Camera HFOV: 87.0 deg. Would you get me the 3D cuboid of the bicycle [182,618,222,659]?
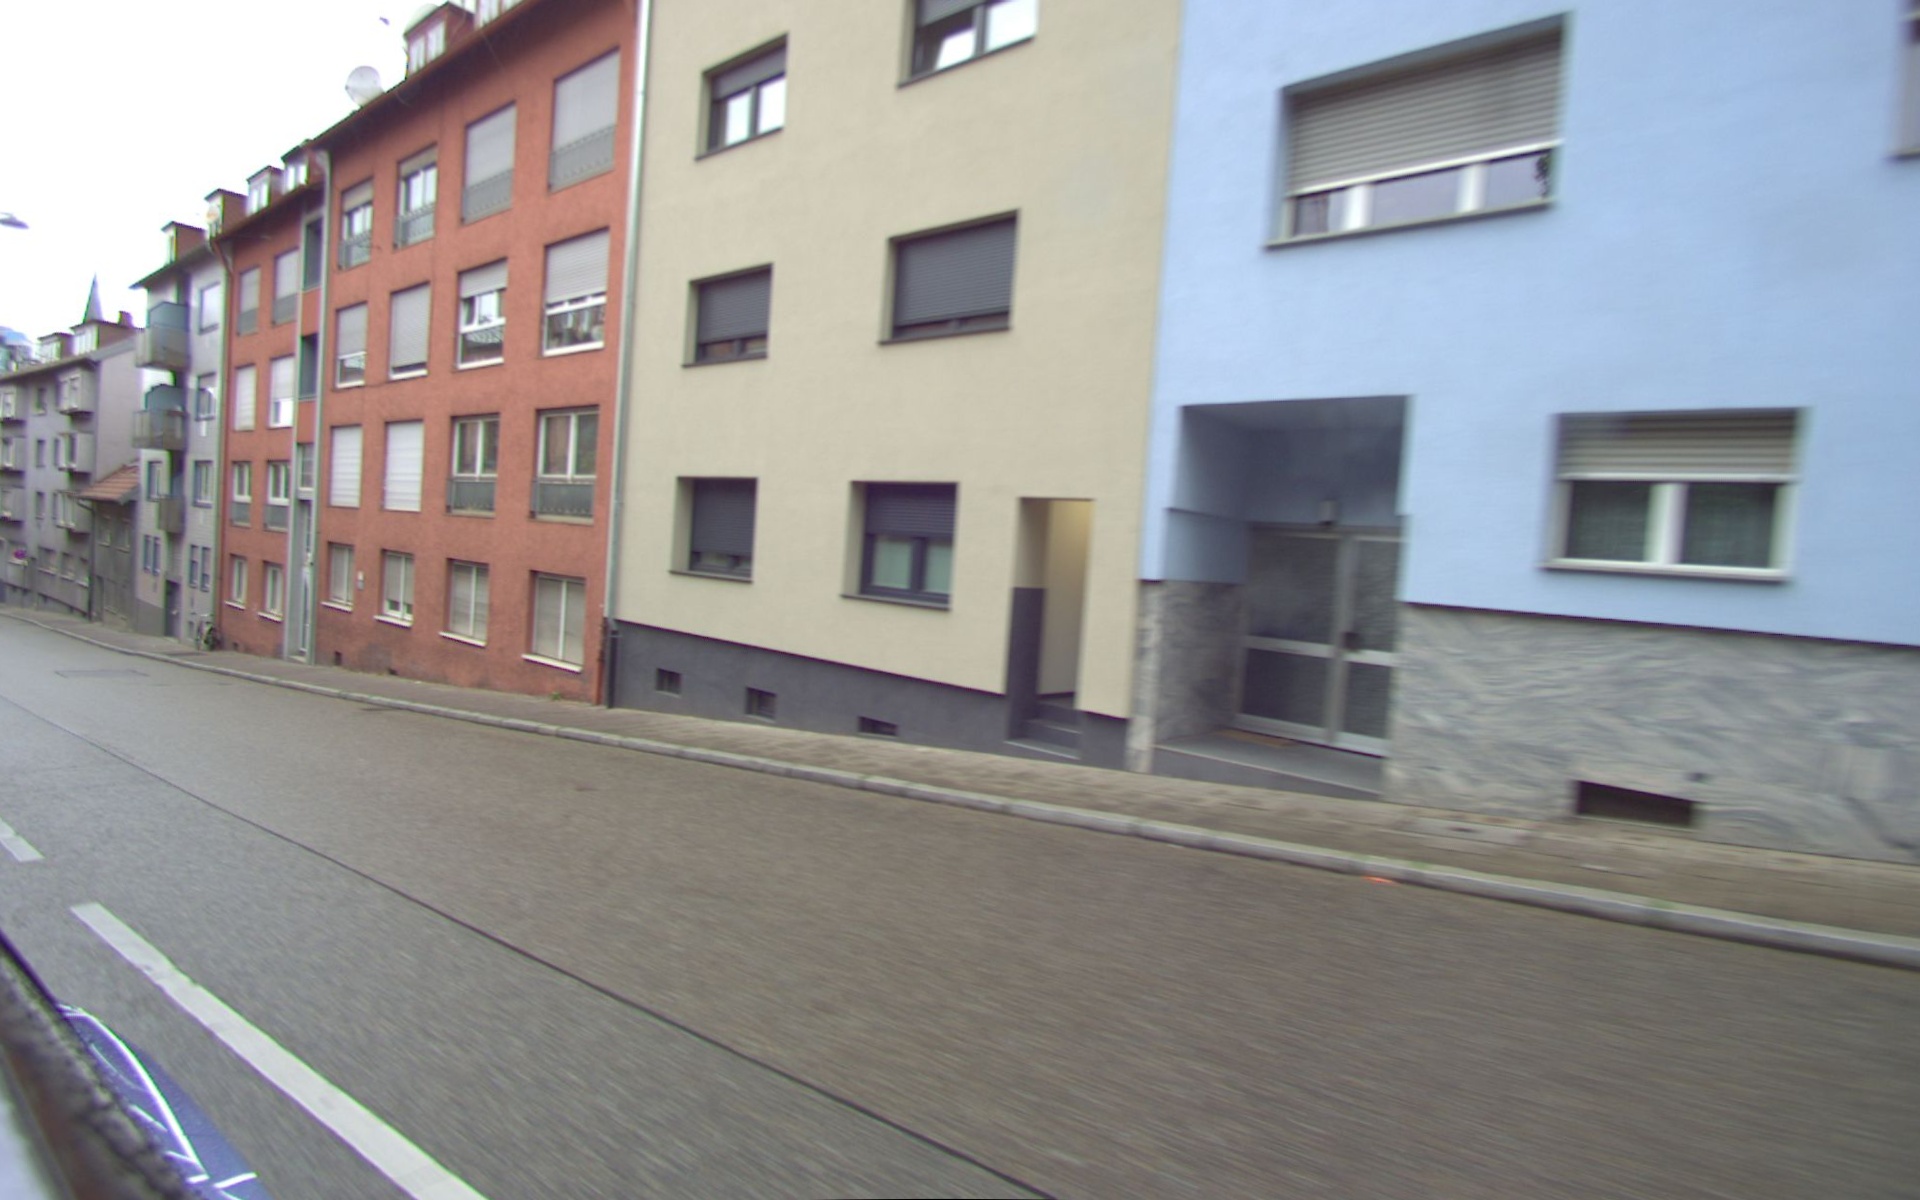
[{"bbox_3d":[-23.039,1.147,30.733,2.039,1.125,0.565,1,2,42],"label":"bicycle"}]
